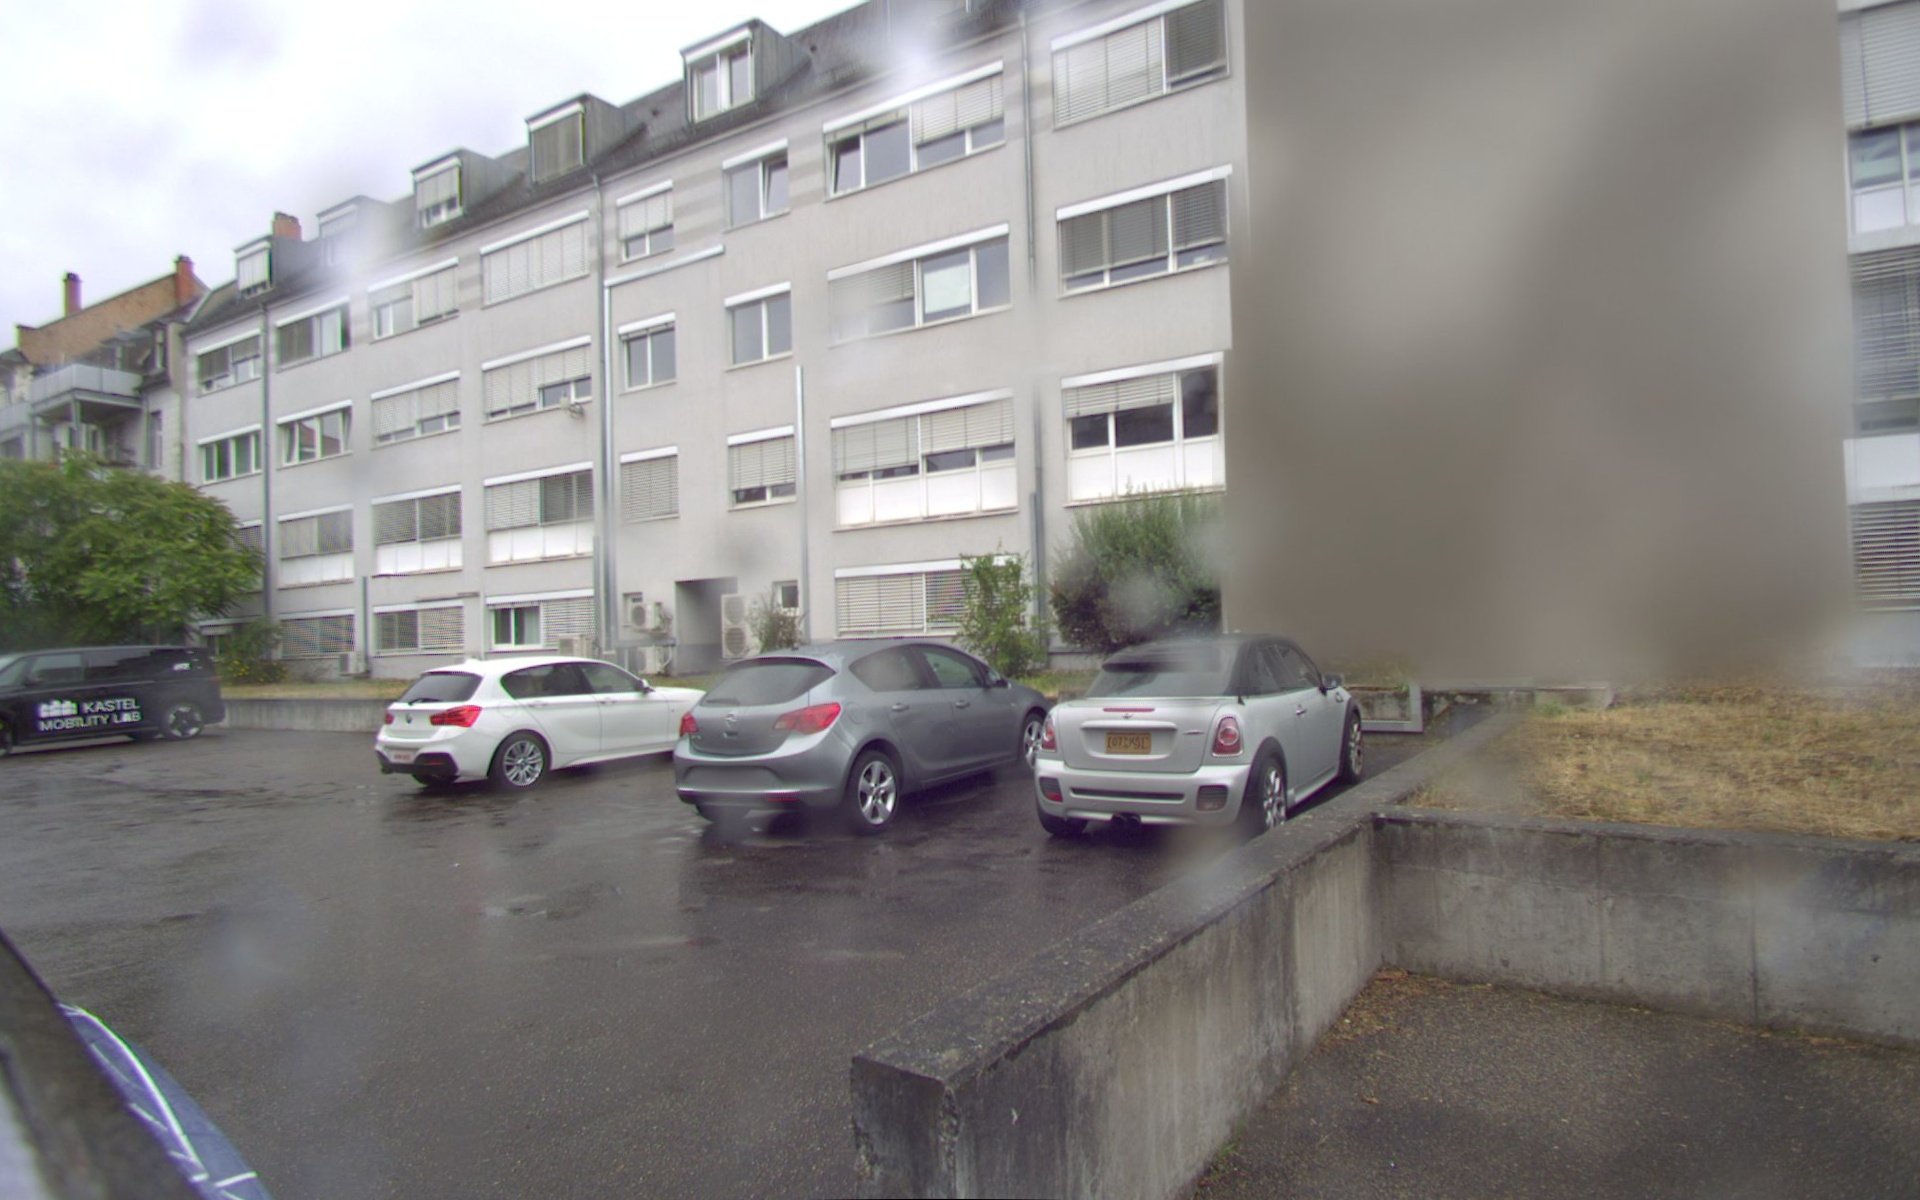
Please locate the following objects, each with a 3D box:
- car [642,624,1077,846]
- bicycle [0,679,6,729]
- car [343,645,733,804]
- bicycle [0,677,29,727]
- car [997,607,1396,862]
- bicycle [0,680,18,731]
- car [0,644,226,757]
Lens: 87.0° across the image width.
[{"bbox_3d":[-0.653,1.037,9.288,1.816,1.495,4.134,-4,-3,31],"label":"car"},{"bbox_3d":[-24.463,2.565,24.227,0.642,1.195,2.292,-1,-1,36],"label":"bicycle"},{"bbox_3d":[-4.845,1.344,12.199,1.747,1.444,4.108,-3,-2,31],"label":"car"},{"bbox_3d":[-24.675,2.575,25.065,0.642,1.195,2.292,-1,-1,36],"label":"bicycle"},{"bbox_3d":[2.163,0.862,8.205,1.816,1.343,4.133,-5,-1,33],"label":"car"},{"bbox_3d":[-23.777,2.555,23.816,0.642,1.195,2.292,-1,-1,36],"label":"bicycle"},{"bbox_3d":[-16.899,1.872,19.039,1.979,1.851,4.586,-5,-3,29],"label":"car"}]
